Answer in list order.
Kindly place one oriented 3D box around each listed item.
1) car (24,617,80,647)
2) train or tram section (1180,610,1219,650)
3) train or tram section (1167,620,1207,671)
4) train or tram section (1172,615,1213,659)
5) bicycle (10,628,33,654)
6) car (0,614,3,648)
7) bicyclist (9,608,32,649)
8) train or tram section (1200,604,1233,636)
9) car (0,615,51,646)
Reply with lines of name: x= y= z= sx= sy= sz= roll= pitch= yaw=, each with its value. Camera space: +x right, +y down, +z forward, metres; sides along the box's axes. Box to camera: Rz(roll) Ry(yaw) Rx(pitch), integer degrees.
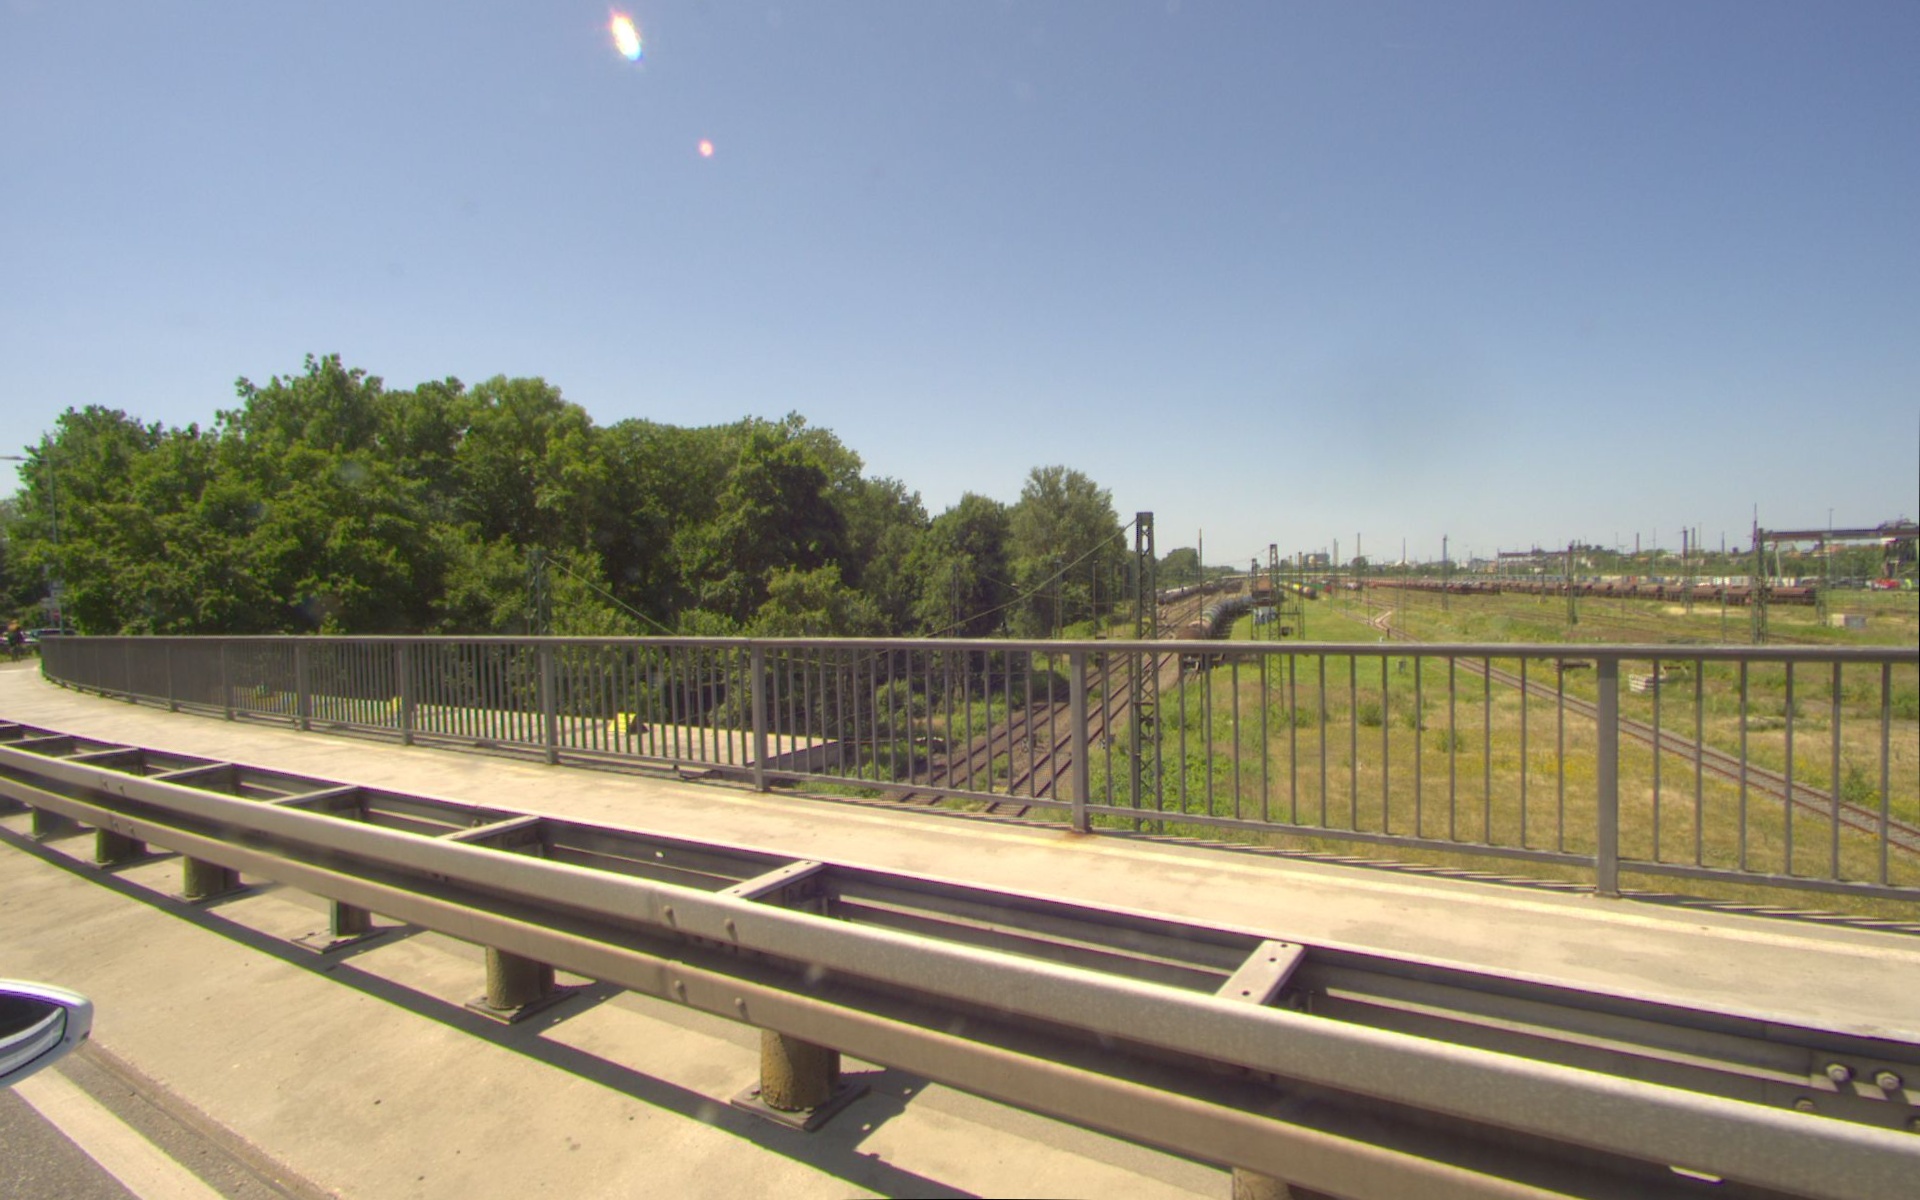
car: x=-56.685 y=2.021 z=62.600 sx=1.666 sy=1.783 sz=3.982 roll=0 pitch=-2 yaw=-28
train or tram section: x=32.027 y=3.892 z=133.450 sx=3.784 sy=4.366 sz=13.602 roll=-2 pitch=1 yaw=18
train or tram section: x=24.462 y=4.721 z=107.300 sx=3.781 sy=4.366 sz=13.611 roll=-2 pitch=1 yaw=14
train or tram section: x=28.073 y=4.314 z=120.464 sx=3.783 sy=4.366 sz=13.604 roll=-2 pitch=1 yaw=17
bicycle: x=-40.004 y=1.757 z=42.675 sx=1.468 sy=1.050 sz=0.578 roll=-1 pitch=2 yaw=43
car: x=-50.019 y=1.565 z=50.627 sx=1.668 sy=1.783 sz=3.976 roll=0 pitch=-2 yaw=-34
bicyclist: x=-39.985 y=1.208 z=42.623 sx=0.721 sy=1.706 sz=0.574 roll=0 pitch=3 yaw=42
train or tram section: x=40.858 y=3.051 z=159.119 sx=3.785 sy=4.366 sz=13.598 roll=-2 pitch=1 yaw=19
car: x=-53.437 y=1.754 z=56.807 sx=1.972 sy=1.594 sz=3.981 roll=2 pitch=-4 yaw=-30
